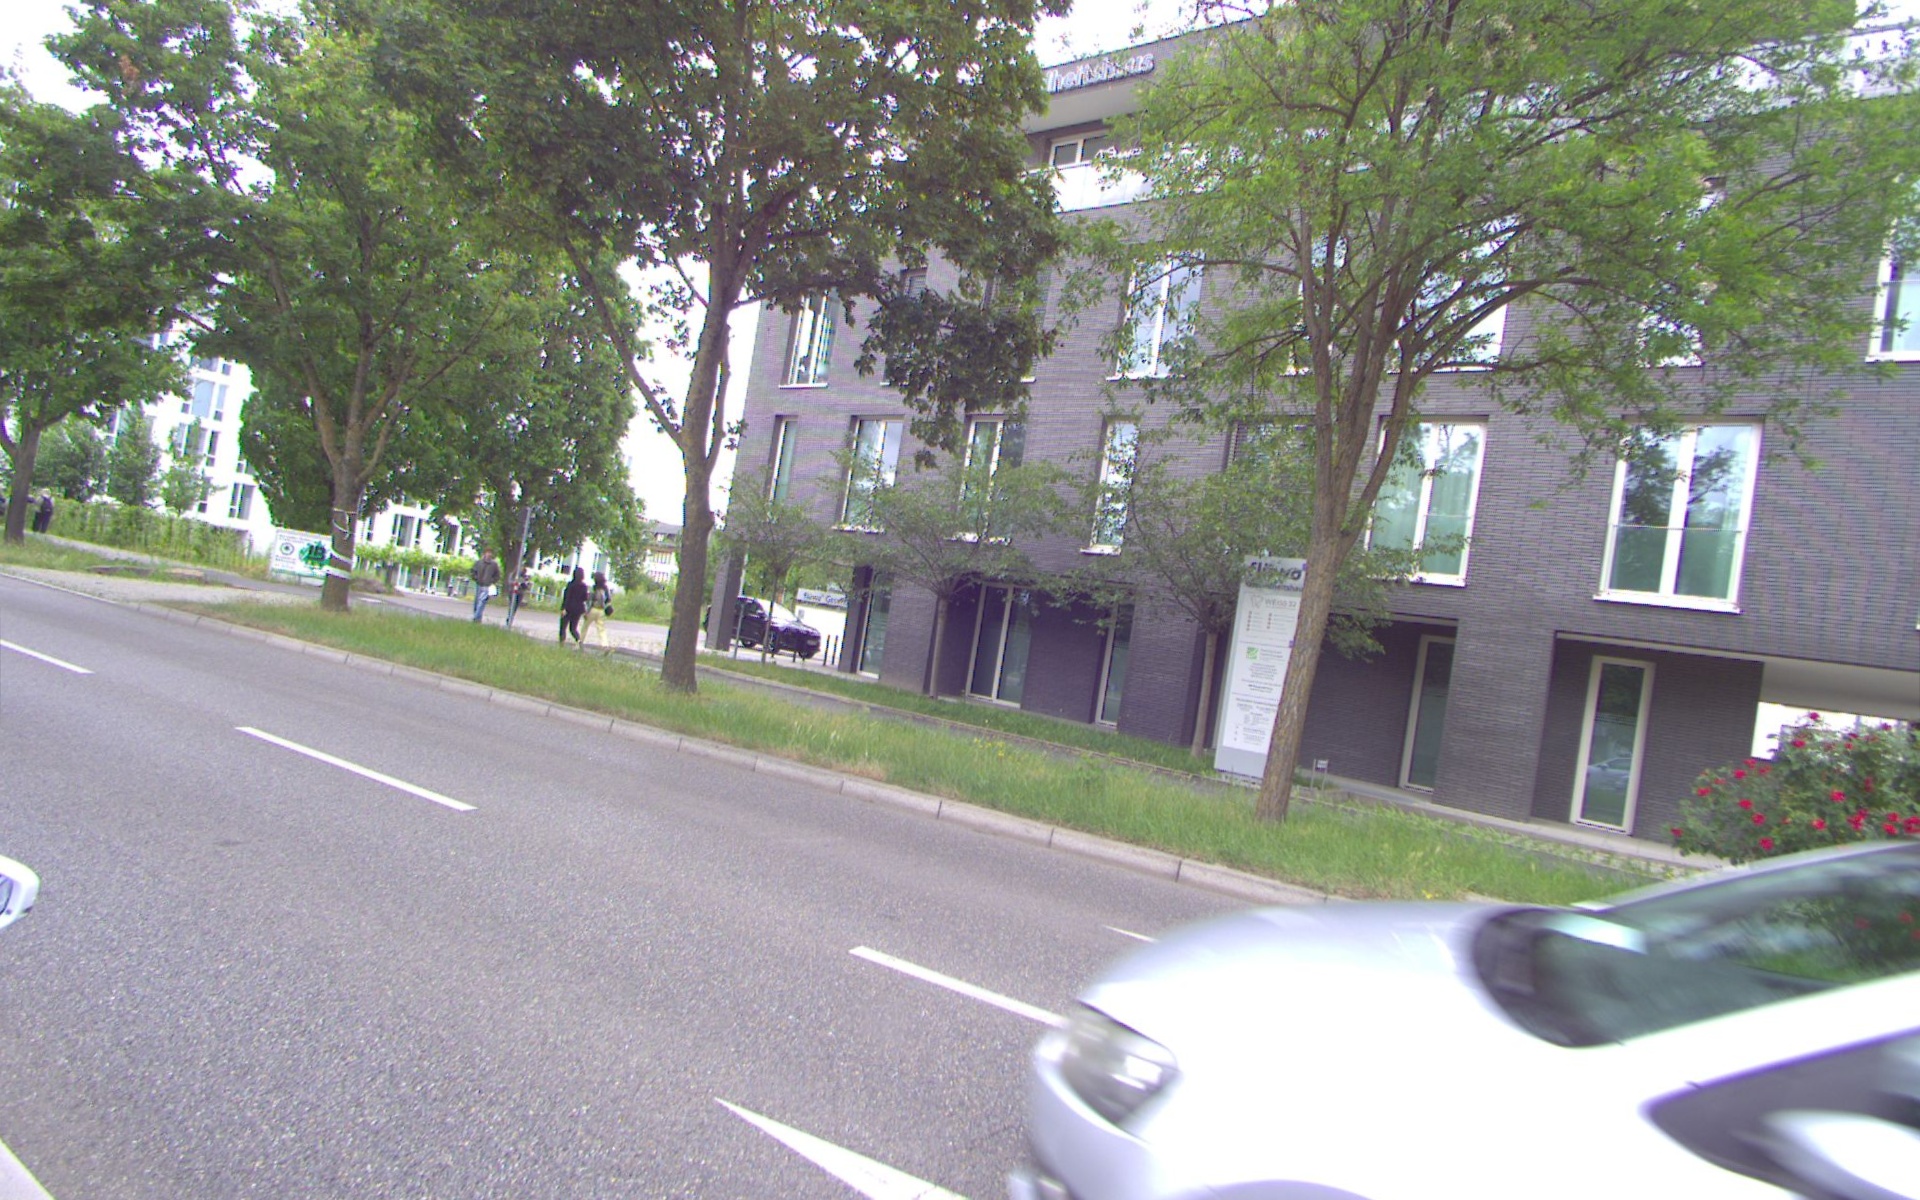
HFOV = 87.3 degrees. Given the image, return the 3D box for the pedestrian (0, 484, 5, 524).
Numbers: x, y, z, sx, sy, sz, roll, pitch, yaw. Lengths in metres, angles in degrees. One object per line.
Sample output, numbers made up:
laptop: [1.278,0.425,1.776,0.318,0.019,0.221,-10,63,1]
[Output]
pedestrian: [-32.850,-3.245,33.753,1.093,1.465,0.791,6,-1,31]

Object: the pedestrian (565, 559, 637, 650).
pedestrian: [-7.255,0.101,20.336,0.937,1.679,0.779,7,-1,38]

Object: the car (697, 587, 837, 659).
car: [-6.102,0.717,31.692,4.080,1.665,1.759,7,-2,32]

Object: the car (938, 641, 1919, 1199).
car: [1.937,1.088,1.738,3.614,1.485,1.609,7,-2,32]

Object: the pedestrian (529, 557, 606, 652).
pedestrian: [-7.696,0.087,19.734,1.043,1.679,0.796,7,-1,38]

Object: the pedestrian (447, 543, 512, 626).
pedestrian: [-11.807,-0.355,24.758,0.946,1.889,0.978,8,-1,-8]

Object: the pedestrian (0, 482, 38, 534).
pedestrian: [-32.094,-3.126,34.222,0.868,1.614,0.701,6,-1,31]

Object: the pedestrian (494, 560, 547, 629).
pedestrian: [-11.005,-0.125,25.223,0.821,1.575,0.875,8,-1,-8]

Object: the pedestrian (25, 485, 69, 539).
pedestrian: [-31.679,-3.044,34.908,0.868,1.705,0.768,6,-1,31]
